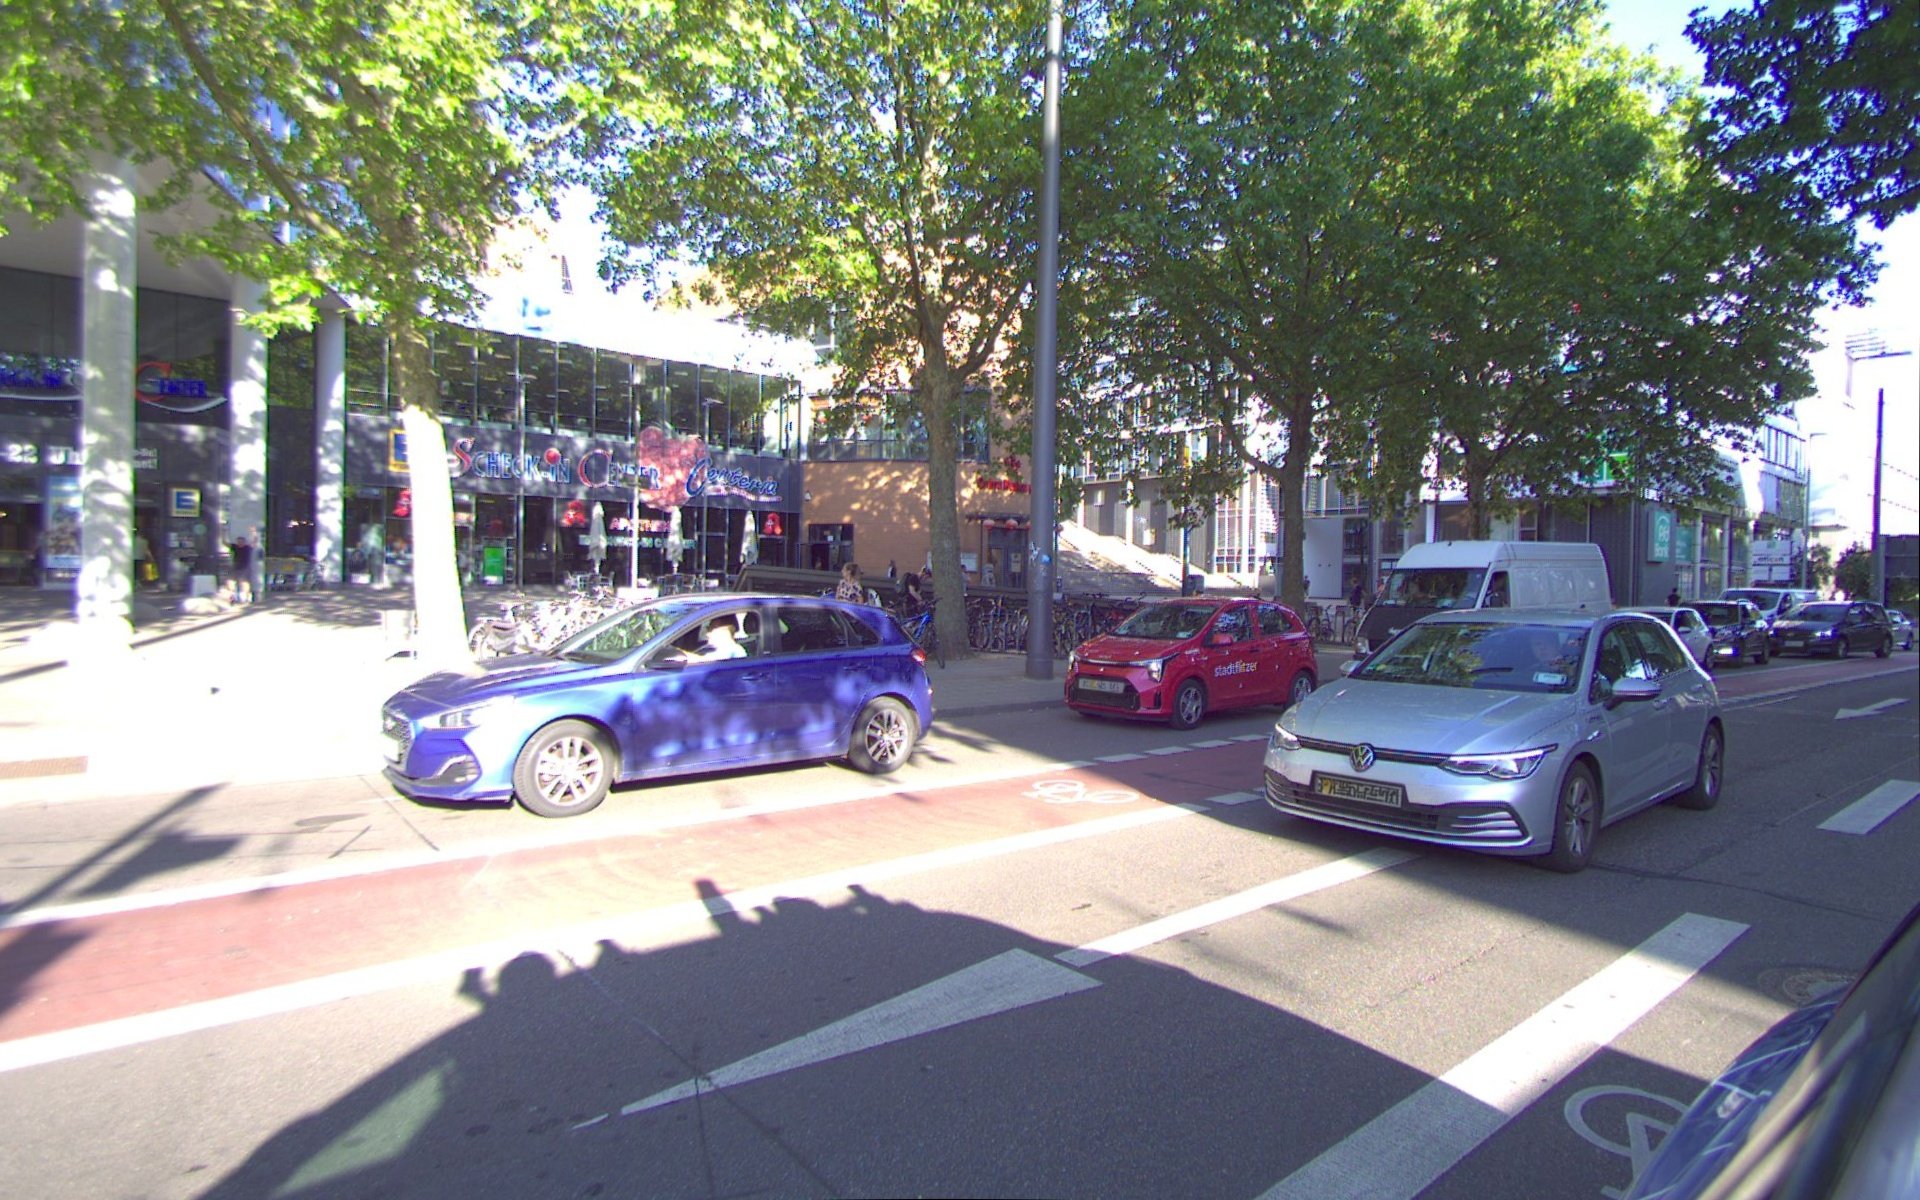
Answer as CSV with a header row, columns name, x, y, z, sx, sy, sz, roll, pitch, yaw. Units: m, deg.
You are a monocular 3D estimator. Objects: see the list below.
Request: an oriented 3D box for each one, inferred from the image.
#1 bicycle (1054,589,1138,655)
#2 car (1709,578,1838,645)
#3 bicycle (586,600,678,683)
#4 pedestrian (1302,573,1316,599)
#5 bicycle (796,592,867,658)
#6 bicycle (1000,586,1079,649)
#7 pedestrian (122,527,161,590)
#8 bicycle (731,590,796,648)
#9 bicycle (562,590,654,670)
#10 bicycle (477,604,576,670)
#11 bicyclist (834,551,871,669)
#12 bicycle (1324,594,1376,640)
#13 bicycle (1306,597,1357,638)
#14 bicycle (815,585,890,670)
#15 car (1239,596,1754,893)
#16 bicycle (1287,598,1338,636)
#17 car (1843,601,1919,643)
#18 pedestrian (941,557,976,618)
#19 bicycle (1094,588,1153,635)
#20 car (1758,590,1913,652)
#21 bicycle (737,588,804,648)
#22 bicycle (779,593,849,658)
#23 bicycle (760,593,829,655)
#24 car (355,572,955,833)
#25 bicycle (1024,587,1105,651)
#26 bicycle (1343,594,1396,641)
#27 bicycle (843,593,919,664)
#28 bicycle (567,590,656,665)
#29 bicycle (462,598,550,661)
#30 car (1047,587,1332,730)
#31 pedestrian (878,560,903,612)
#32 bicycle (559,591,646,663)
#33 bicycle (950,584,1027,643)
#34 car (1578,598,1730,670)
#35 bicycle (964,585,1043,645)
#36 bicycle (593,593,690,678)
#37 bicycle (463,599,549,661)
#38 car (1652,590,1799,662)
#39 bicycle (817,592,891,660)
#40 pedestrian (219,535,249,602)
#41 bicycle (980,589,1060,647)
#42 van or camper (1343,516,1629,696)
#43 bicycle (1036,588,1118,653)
name,x,y,z,sx,sy,sz,roll,pitch,yaw
bicycle,2.620,0.398,19.366,1.818,1.209,0.481,0,2,-41
car,26.447,0.345,32.845,4.863,2.020,1.968,0,1,-35
bicycle,-4.581,0.563,14.182,1.202,1.110,0.269,0,1,-40
pedestrian,20.844,-0.840,60.393,0.707,1.578,0.638,1,1,14
bicycle,-2.237,0.417,17.680,1.202,1.110,0.381,0,1,-40
bicycle,1.628,0.338,20.522,1.818,1.209,0.447,0,1,-41
pedestrian,-23.159,-1.169,28.645,0.703,1.728,0.807,1,1,-27
bicycle,-3.888,0.371,20.050,1.202,1.110,0.429,0,1,-40
bicycle,-5.158,0.423,14.841,1.202,1.110,0.396,0,1,-40
bicycle,-6.239,0.517,14.598,1.231,0.898,0.462,0,1,-40
bicyclist,-1.657,0.145,15.648,0.392,1.782,0.390,0,1,-41
bicycle,10.664,0.446,27.633,1.818,1.209,0.495,0,2,-41
bicycle,10.308,0.470,28.045,1.766,1.108,0.522,0,2,-41
bicycle,-1.655,0.410,15.650,1.126,1.271,0.379,0,1,-41
car,3.802,0.706,6.900,3.928,1.458,1.733,0,0,-39
bicycle,9.926,0.464,28.455,1.818,1.046,0.515,0,2,-41
car,33.519,0.749,36.521,3.927,1.394,1.802,0,2,-38
pedestrian,-0.047,-0.369,30.496,0.868,1.805,0.604,1,1,-18
bicycle,4.389,0.304,27.068,1.759,1.209,0.517,0,2,-41
car,25.242,0.580,29.163,4.242,1.640,1.970,0,1,-28
bicycle,-3.643,0.342,19.507,1.202,1.110,0.444,0,1,-40
bicycle,-2.605,0.446,18.138,1.202,1.110,0.400,0,1,-40
bicycle,-3.074,0.429,18.873,1.202,1.110,0.427,0,1,-40
car,-2.187,0.581,7.956,4.177,1.503,1.742,0,2,-41
bicycle,2.110,0.361,20.261,1.818,1.209,0.484,0,2,-41
bicycle,11.032,0.452,27.234,1.818,1.209,0.521,0,2,-41
bicycle,-1.289,0.455,16.626,1.202,1.110,0.447,0,1,-40
bicycle,-5.360,0.405,15.590,0.372,1.110,1.269,2,1,41
bicycle,-6.959,0.452,15.544,1.198,0.930,0.442,1,1,-22
car,2.901,0.603,12.427,3.588,1.476,1.605,0,1,-41
pedestrian,-2.805,-0.575,40.868,0.575,2.062,0.876,1,1,-35
bicycle,-5.766,0.409,16.367,0.414,1.110,1.269,2,1,41
bicycle,0.636,0.270,21.703,1.818,1.209,0.434,0,1,-41
car,15.358,0.688,22.324,3.927,1.446,1.683,0,1,-38
bicycle,0.934,0.295,21.350,1.818,1.209,0.458,0,1,-41
bicycle,-4.380,0.470,13.941,1.202,1.110,0.413,0,1,-40
bicycle,-7.121,0.461,15.922,1.198,0.938,0.465,1,1,-22
car,19.055,0.592,25.150,4.148,1.640,1.819,0,1,-36
bicycle,-1.780,0.422,17.129,1.202,1.110,0.420,0,1,-40
pedestrian,-18.778,-0.810,26.172,0.506,1.707,0.604,1,1,-23
bicycle,1.255,0.350,20.970,1.818,1.139,0.484,0,2,-41
van or camper,9.306,0.075,17.563,6.456,2.611,1.998,0,0,-39
bicycle,2.298,0.387,19.752,1.818,1.209,0.448,0,1,-41
